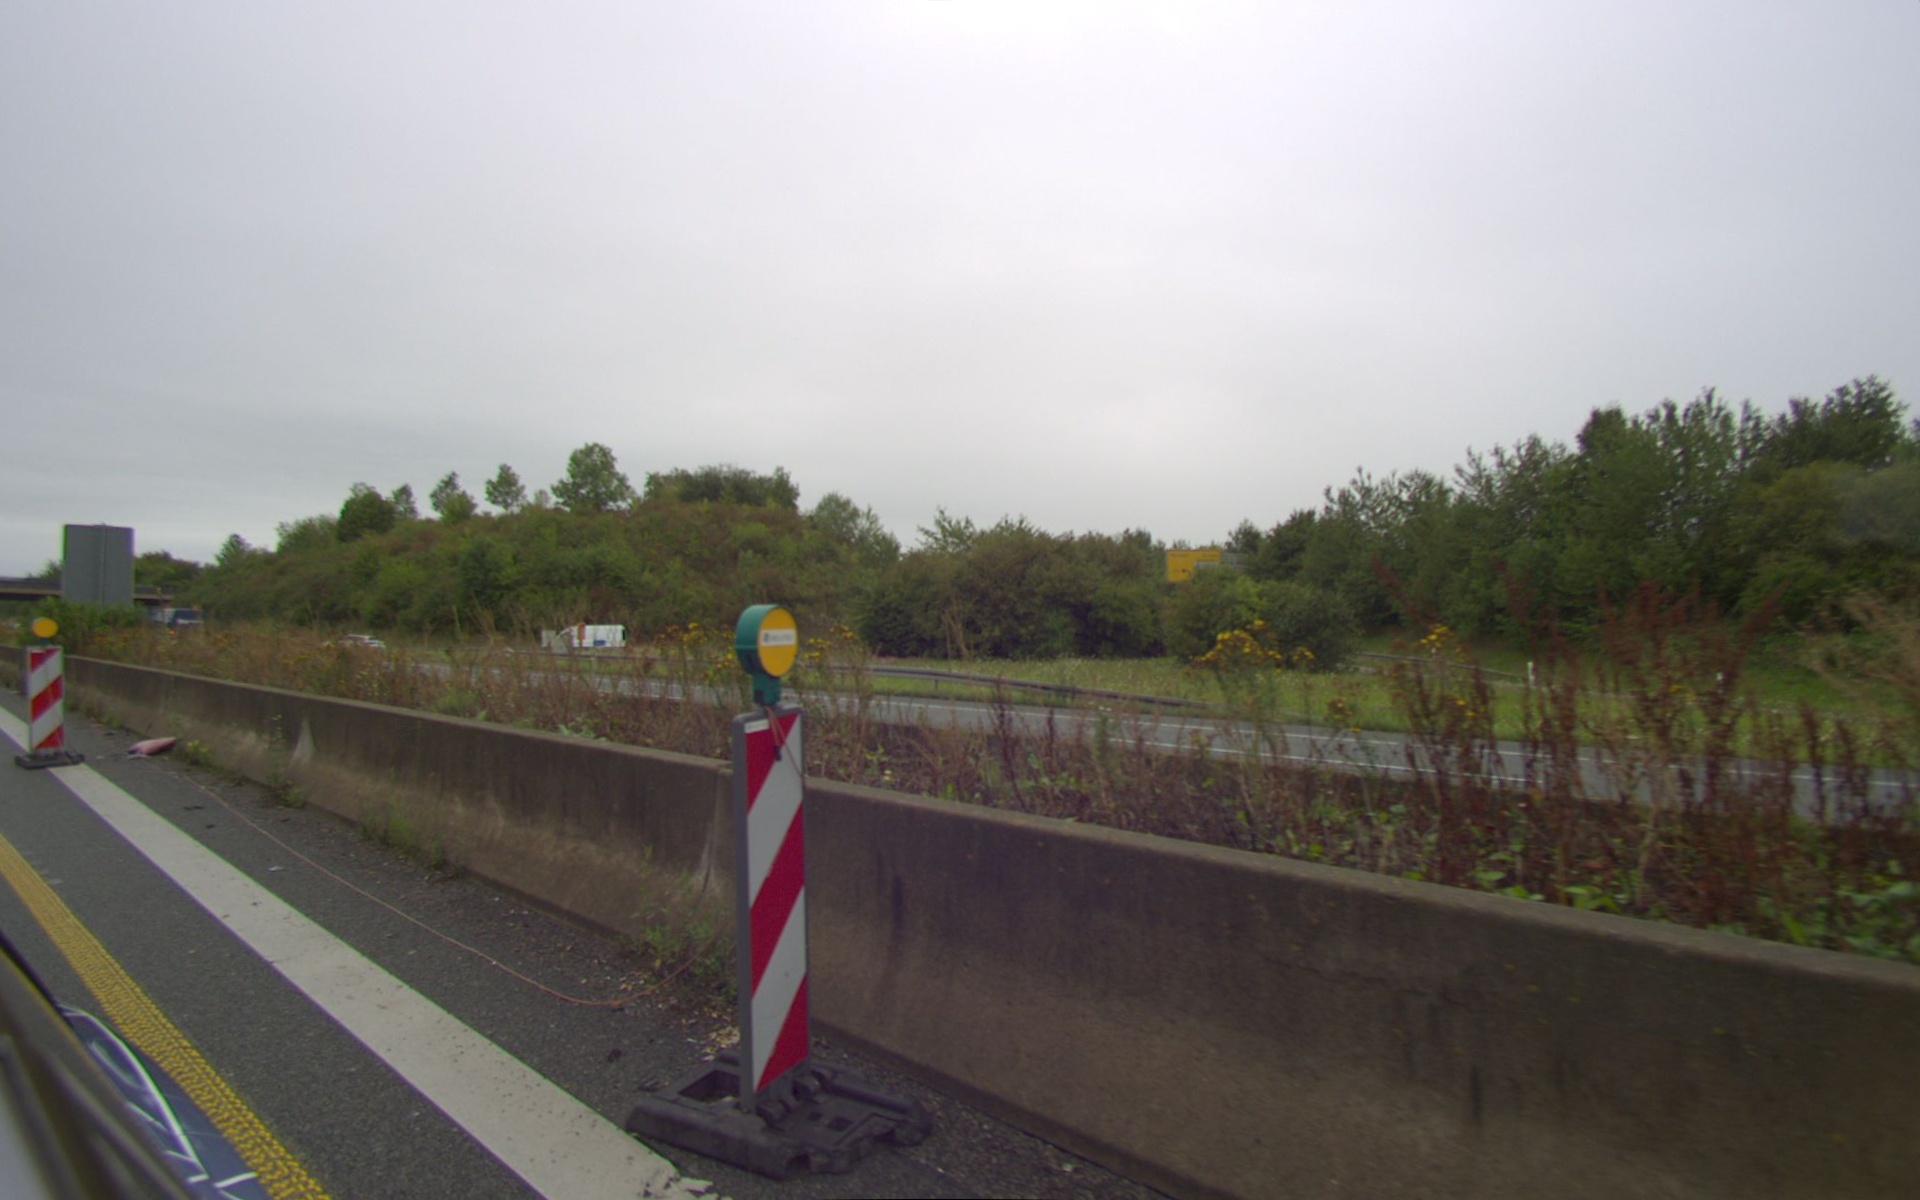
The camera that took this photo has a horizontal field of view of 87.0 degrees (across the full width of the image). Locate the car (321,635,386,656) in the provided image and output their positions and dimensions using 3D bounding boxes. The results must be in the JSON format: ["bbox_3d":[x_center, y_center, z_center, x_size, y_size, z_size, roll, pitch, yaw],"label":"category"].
[{"bbox_3d":[-44.385,3.311,74.091,3.967,1.414,1.909,0,-2,18],"label":"car"}]

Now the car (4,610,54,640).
[{"bbox_3d":[-63.933,1.701,69.470,4.669,1.973,1.973,0,0,41],"label":"car"}]

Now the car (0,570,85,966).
[{"bbox_3d":[-6.279,0.768,5.326,3.998,1.774,1.972,-2,-3,41],"label":"car"}]

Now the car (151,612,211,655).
[{"bbox_3d":[-49.656,2.071,64.459,5.846,2.629,2.029,0,0,42],"label":"car"}]

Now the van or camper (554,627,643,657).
[{"bbox_3d":[-26.246,3.064,73.666,5.752,2.029,2.004,1,-2,-9],"label":"van or camper"}]

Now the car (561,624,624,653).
[{"bbox_3d":[-26.399,2.762,72.846,3.936,2.029,2.003,1,-2,-8],"label":"car"}]
